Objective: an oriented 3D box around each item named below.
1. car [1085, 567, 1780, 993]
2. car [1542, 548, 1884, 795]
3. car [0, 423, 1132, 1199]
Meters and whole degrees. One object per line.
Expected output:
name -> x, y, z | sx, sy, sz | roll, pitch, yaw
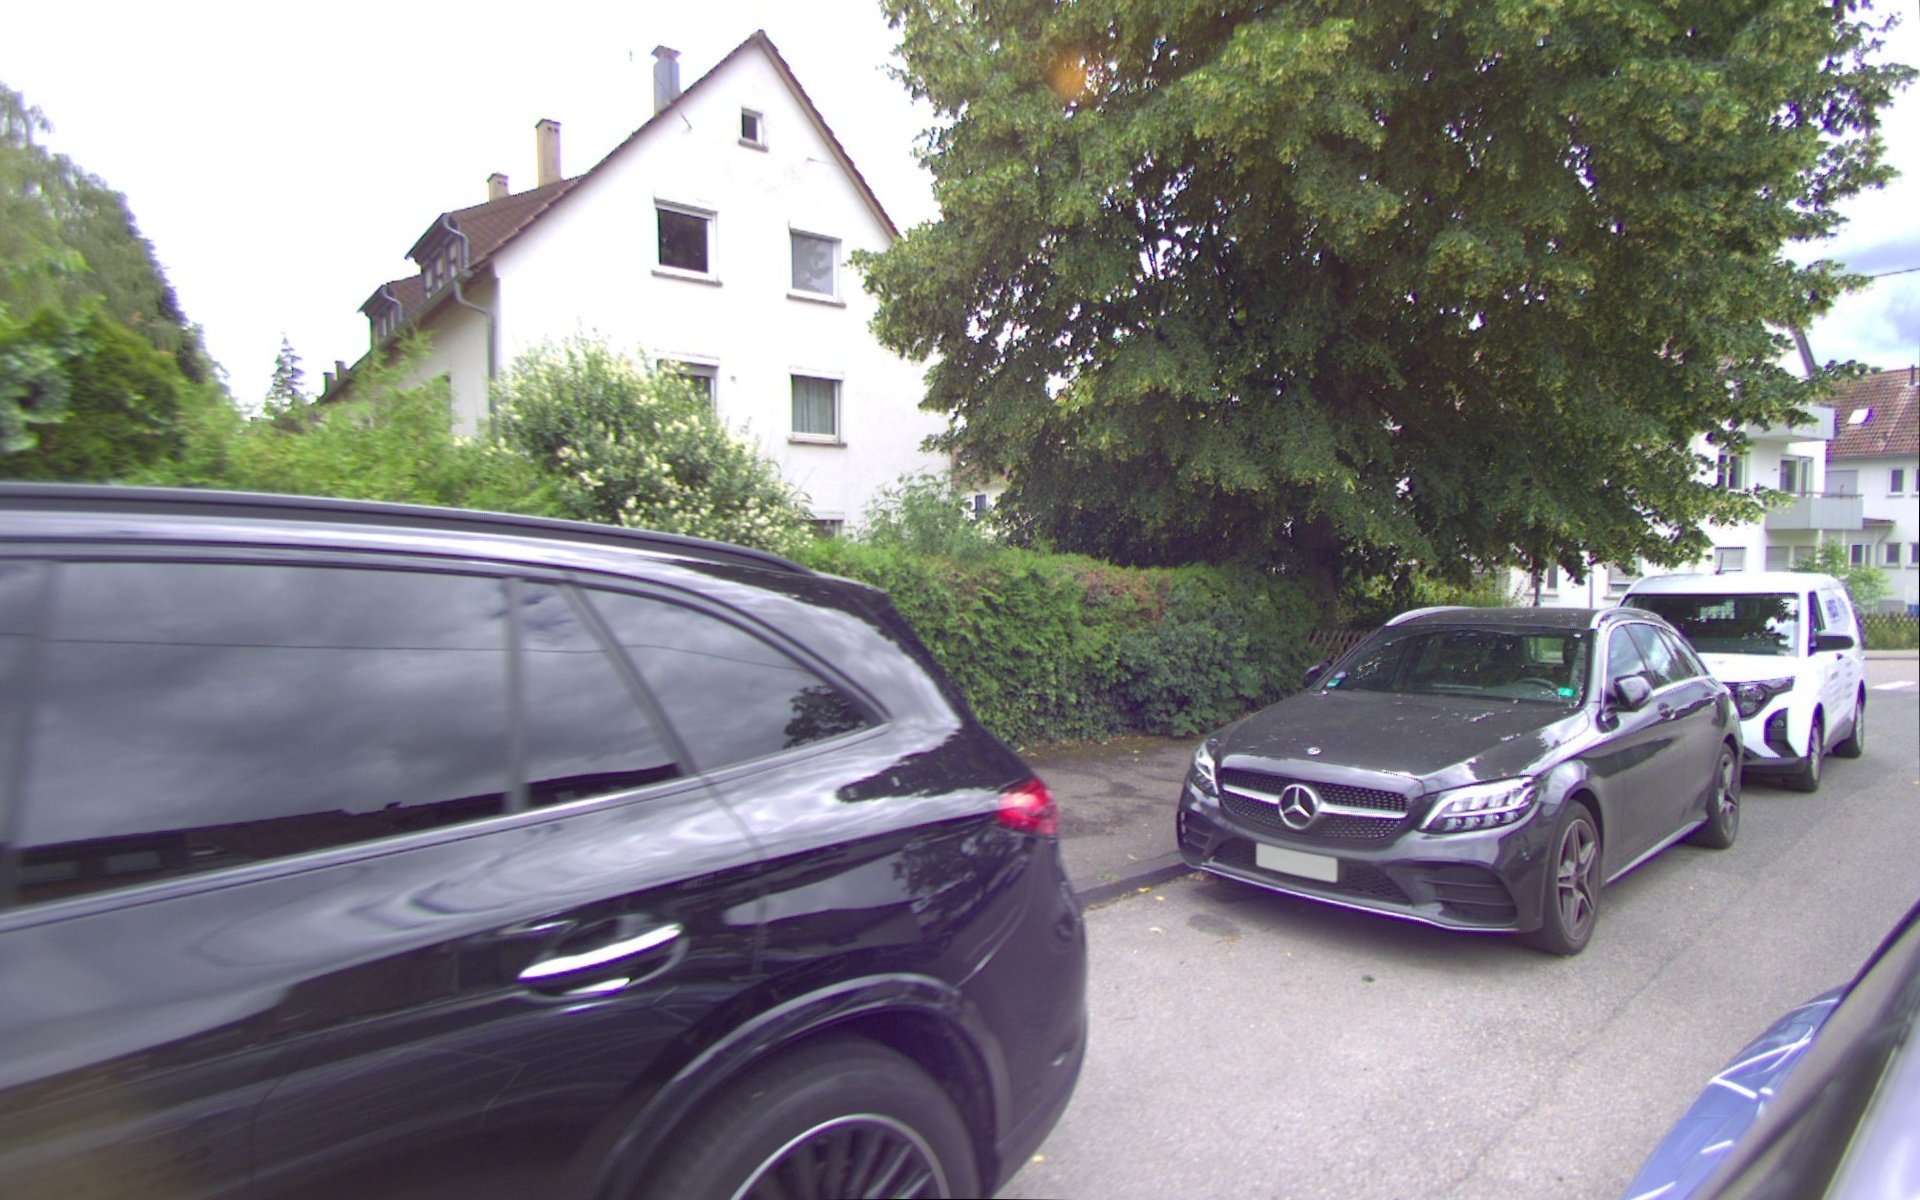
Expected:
car -> 2.993, 0.585, 5.867 | 4.540, 1.496, 1.997 | -1, 3, -42
car -> 7.192, 0.518, 9.492 | 4.244, 1.796, 1.839 | 0, 0, -43
car -> -1.960, 0.647, 1.383 | 4.461, 1.635, 1.997 | -1, 1, -42
